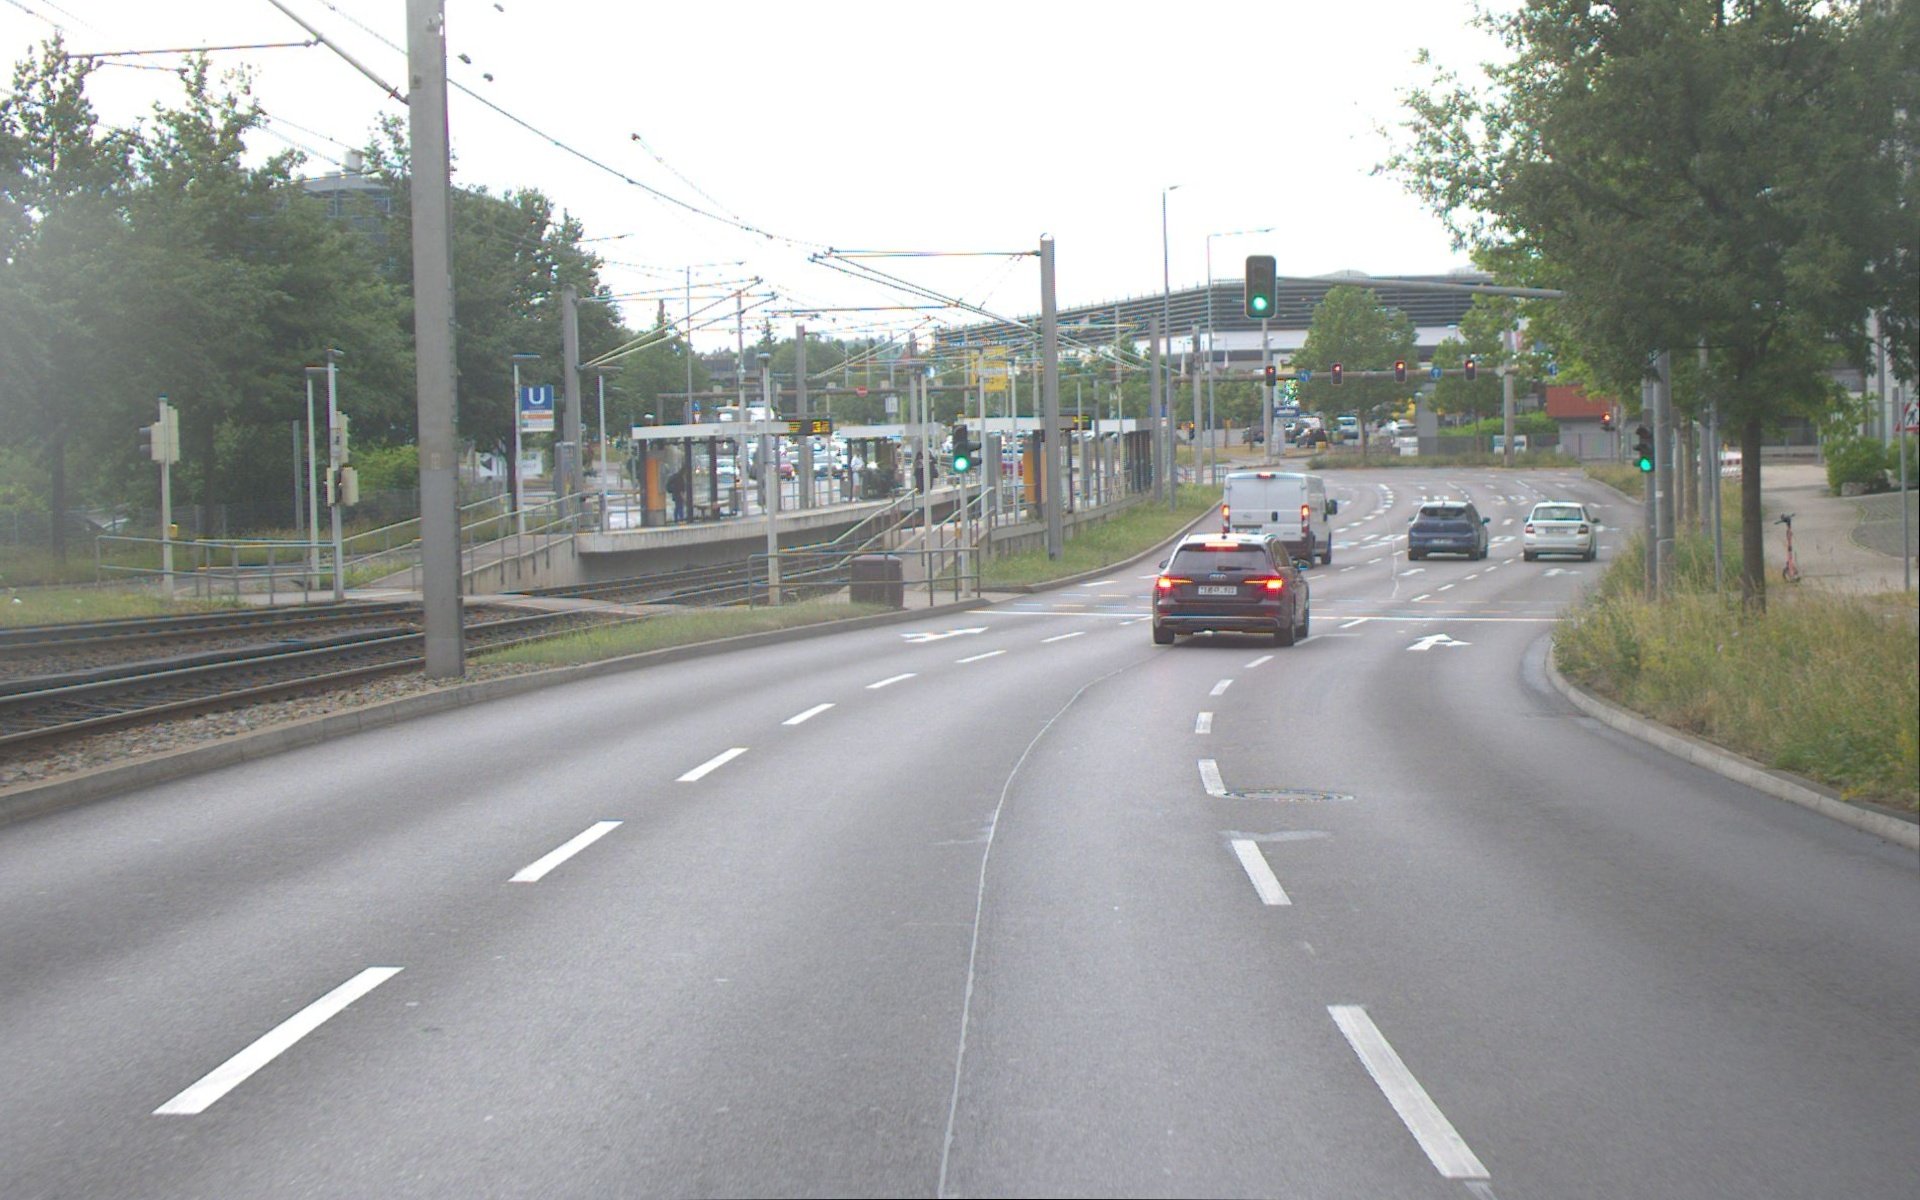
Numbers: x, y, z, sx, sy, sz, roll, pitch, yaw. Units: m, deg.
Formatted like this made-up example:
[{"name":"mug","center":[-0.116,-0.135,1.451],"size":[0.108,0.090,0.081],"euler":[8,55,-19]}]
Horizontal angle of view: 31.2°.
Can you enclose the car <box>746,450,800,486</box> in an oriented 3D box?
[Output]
[{"name":"car","center":[-11.407,-8.043,209.810],"size":[1.993,2.007,4.001],"euler":[1,0,-23]}]

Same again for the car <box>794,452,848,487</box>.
[{"name":"car","center":[-8.569,-8.022,211.514],"size":[1.993,2.007,4.001],"euler":[1,0,-23]}]

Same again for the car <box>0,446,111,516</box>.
[{"name":"car","center":[-27.351,-3.561,103.523],"size":[1.994,2.007,3.998],"euler":[0,0,10]}]

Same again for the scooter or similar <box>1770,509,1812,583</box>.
[{"name":"scooter or similar","center":[14.517,-0.945,60.060],"size":[0.457,1.259,1.337],"euler":[-3,1,5]}]

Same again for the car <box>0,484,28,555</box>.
[{"name":"car","center":[-28.487,-2.319,98.325],"size":[1.994,2.007,3.998],"euler":[0,0,10]}]

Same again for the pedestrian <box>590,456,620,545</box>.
[{"name":"pedestrian","center":[-7.803,-2.183,75.561],"size":[0.549,1.946,0.664],"euler":[0,0,4]}]

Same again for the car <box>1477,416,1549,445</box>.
[{"name":"car","center":[32.185,-9.868,200.177],"size":[2.021,1.617,4.000],"euler":[-1,3,-32]}]

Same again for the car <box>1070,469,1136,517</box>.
[{"name":"car","center":[5.132,-3.843,122.857],"size":[1.994,1.447,3.847],"euler":[0,5,8]}]

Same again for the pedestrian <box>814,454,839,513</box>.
[{"name":"pedestrian","center":[-4.653,-4.073,120.099],"size":[0.855,2.007,1.041],"euler":[0,0,-1]}]

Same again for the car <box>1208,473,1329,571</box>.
[{"name":"car","center":[7.345,-1.820,81.293],"size":[2.512,2.170,5.147],"euler":[0,0,9]}]

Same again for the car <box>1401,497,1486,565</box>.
[{"name":"car","center":[12.164,-1.721,86.676],"size":[2.022,1.617,3.999],"euler":[0,0,7]}]

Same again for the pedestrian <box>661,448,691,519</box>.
[{"name":"pedestrian","center":[-7.512,-3.066,90.819],"size":[0.637,1.848,0.750],"euler":[0,0,7]}]

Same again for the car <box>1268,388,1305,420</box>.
[{"name":"car","center":[22.704,-13.630,239.091],"size":[1.993,2.007,4.000],"euler":[0,0,-3]}]

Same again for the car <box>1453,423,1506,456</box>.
[{"name":"car","center":[34.992,-10.786,231.823],"size":[1.993,2.007,4.001],"euler":[0,0,-17]}]

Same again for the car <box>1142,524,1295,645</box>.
[{"name":"car","center":[3.447,-0.246,45.129],"size":[1.764,1.458,4.626],"euler":[1,1,7]}]

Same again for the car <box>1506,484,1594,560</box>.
[{"name":"car","center":[14.802,-1.987,86.382],"size":[2.022,1.763,3.999],"euler":[0,3,8]}]

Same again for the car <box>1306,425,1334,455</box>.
[{"name":"car","center":[26.630,-11.846,254.451],"size":[1.818,2.007,3.470],"euler":[0,0,3]}]

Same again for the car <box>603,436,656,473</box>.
[{"name":"car","center":[-19.705,-8.680,205.082],"size":[1.993,2.007,4.001],"euler":[1,0,-23]}]

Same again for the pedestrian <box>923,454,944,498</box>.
[{"name":"pedestrian","center":[-1.083,-5.042,139.975],"size":[0.752,1.745,0.764],"euler":[0,0,8]}]
